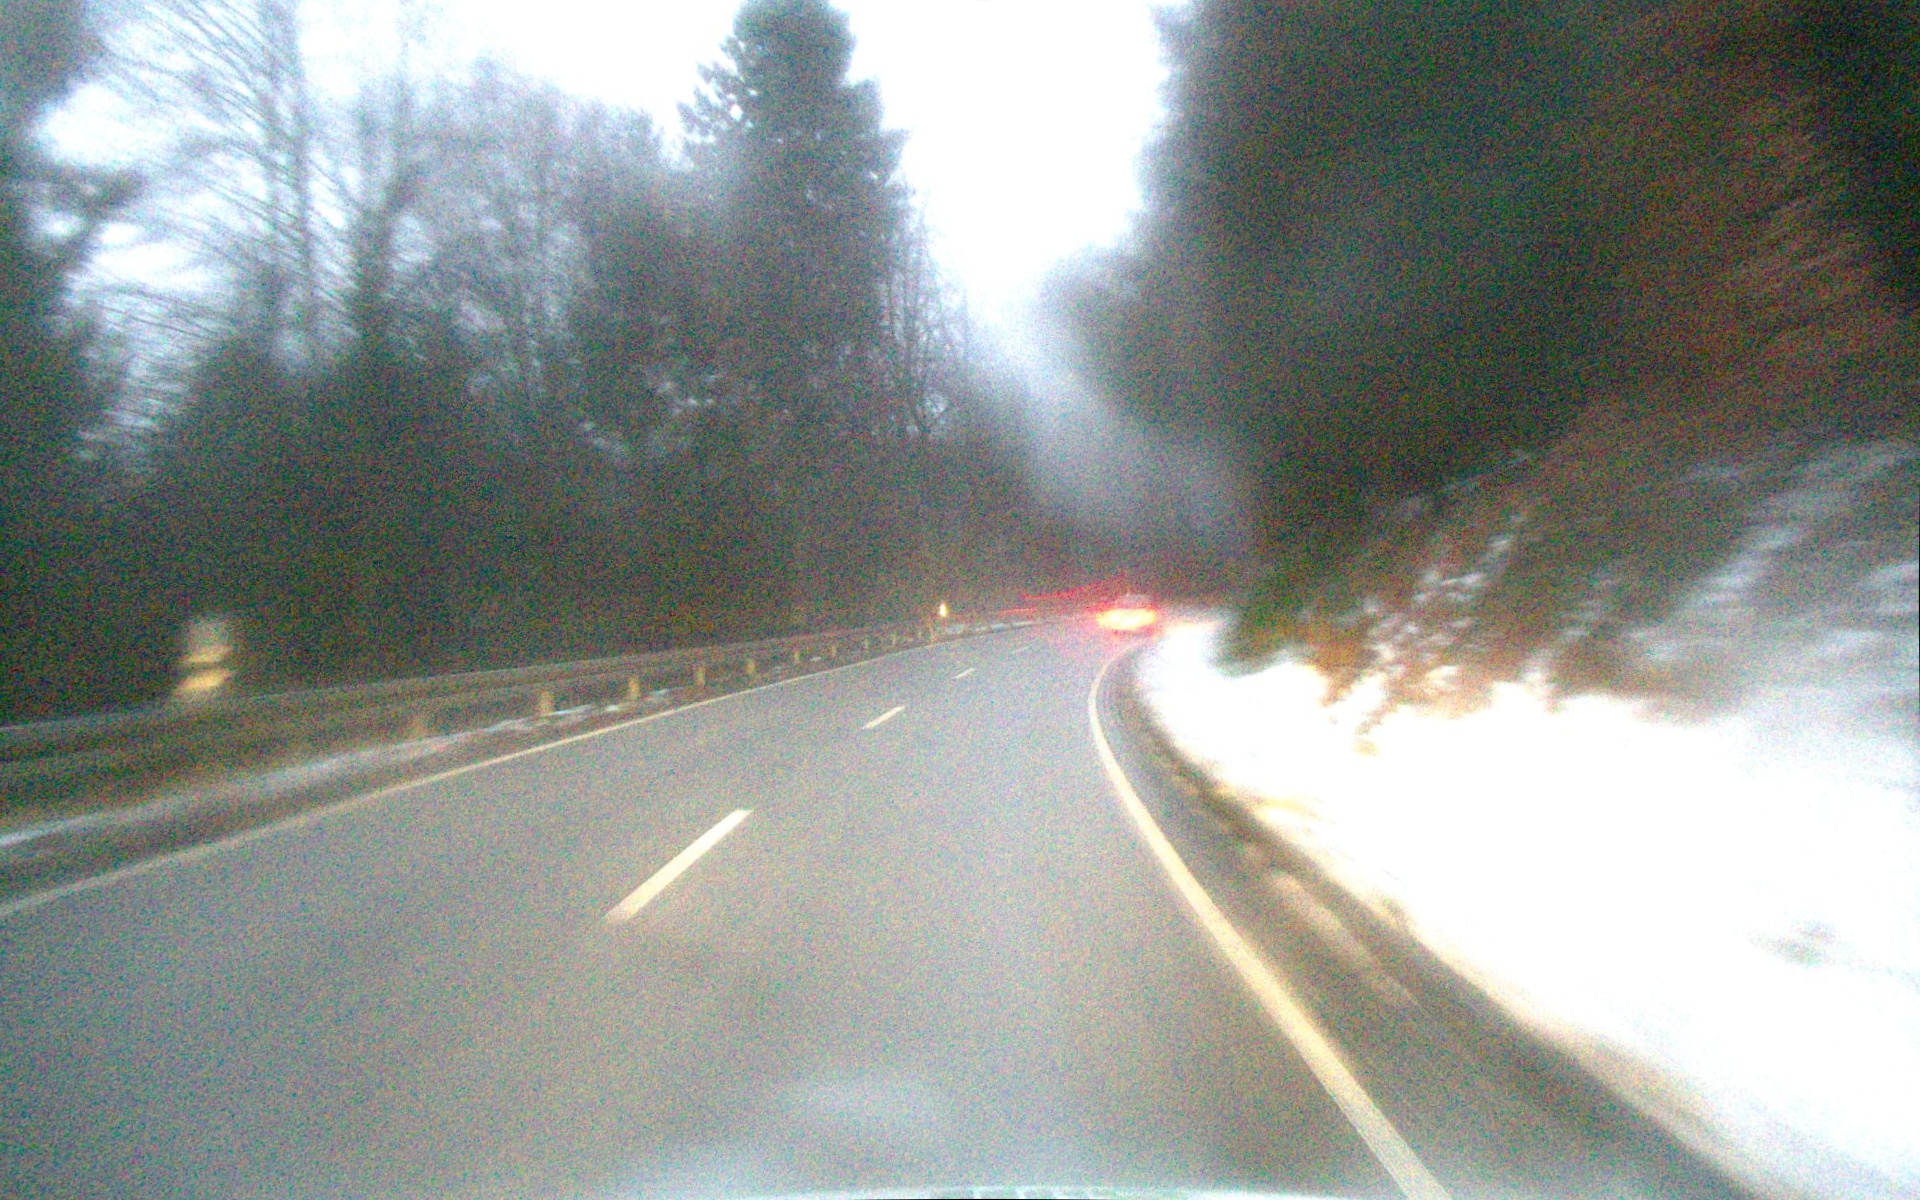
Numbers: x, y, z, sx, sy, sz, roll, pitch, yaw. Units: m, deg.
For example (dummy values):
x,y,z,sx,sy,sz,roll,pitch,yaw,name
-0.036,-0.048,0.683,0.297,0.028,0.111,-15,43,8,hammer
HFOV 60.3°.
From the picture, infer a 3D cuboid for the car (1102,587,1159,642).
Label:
x,y,z,sx,sy,sz,roll,pitch,yaw,name
6.419,0.513,62.541,1.952,1.905,4.002,-3,0,4,car
